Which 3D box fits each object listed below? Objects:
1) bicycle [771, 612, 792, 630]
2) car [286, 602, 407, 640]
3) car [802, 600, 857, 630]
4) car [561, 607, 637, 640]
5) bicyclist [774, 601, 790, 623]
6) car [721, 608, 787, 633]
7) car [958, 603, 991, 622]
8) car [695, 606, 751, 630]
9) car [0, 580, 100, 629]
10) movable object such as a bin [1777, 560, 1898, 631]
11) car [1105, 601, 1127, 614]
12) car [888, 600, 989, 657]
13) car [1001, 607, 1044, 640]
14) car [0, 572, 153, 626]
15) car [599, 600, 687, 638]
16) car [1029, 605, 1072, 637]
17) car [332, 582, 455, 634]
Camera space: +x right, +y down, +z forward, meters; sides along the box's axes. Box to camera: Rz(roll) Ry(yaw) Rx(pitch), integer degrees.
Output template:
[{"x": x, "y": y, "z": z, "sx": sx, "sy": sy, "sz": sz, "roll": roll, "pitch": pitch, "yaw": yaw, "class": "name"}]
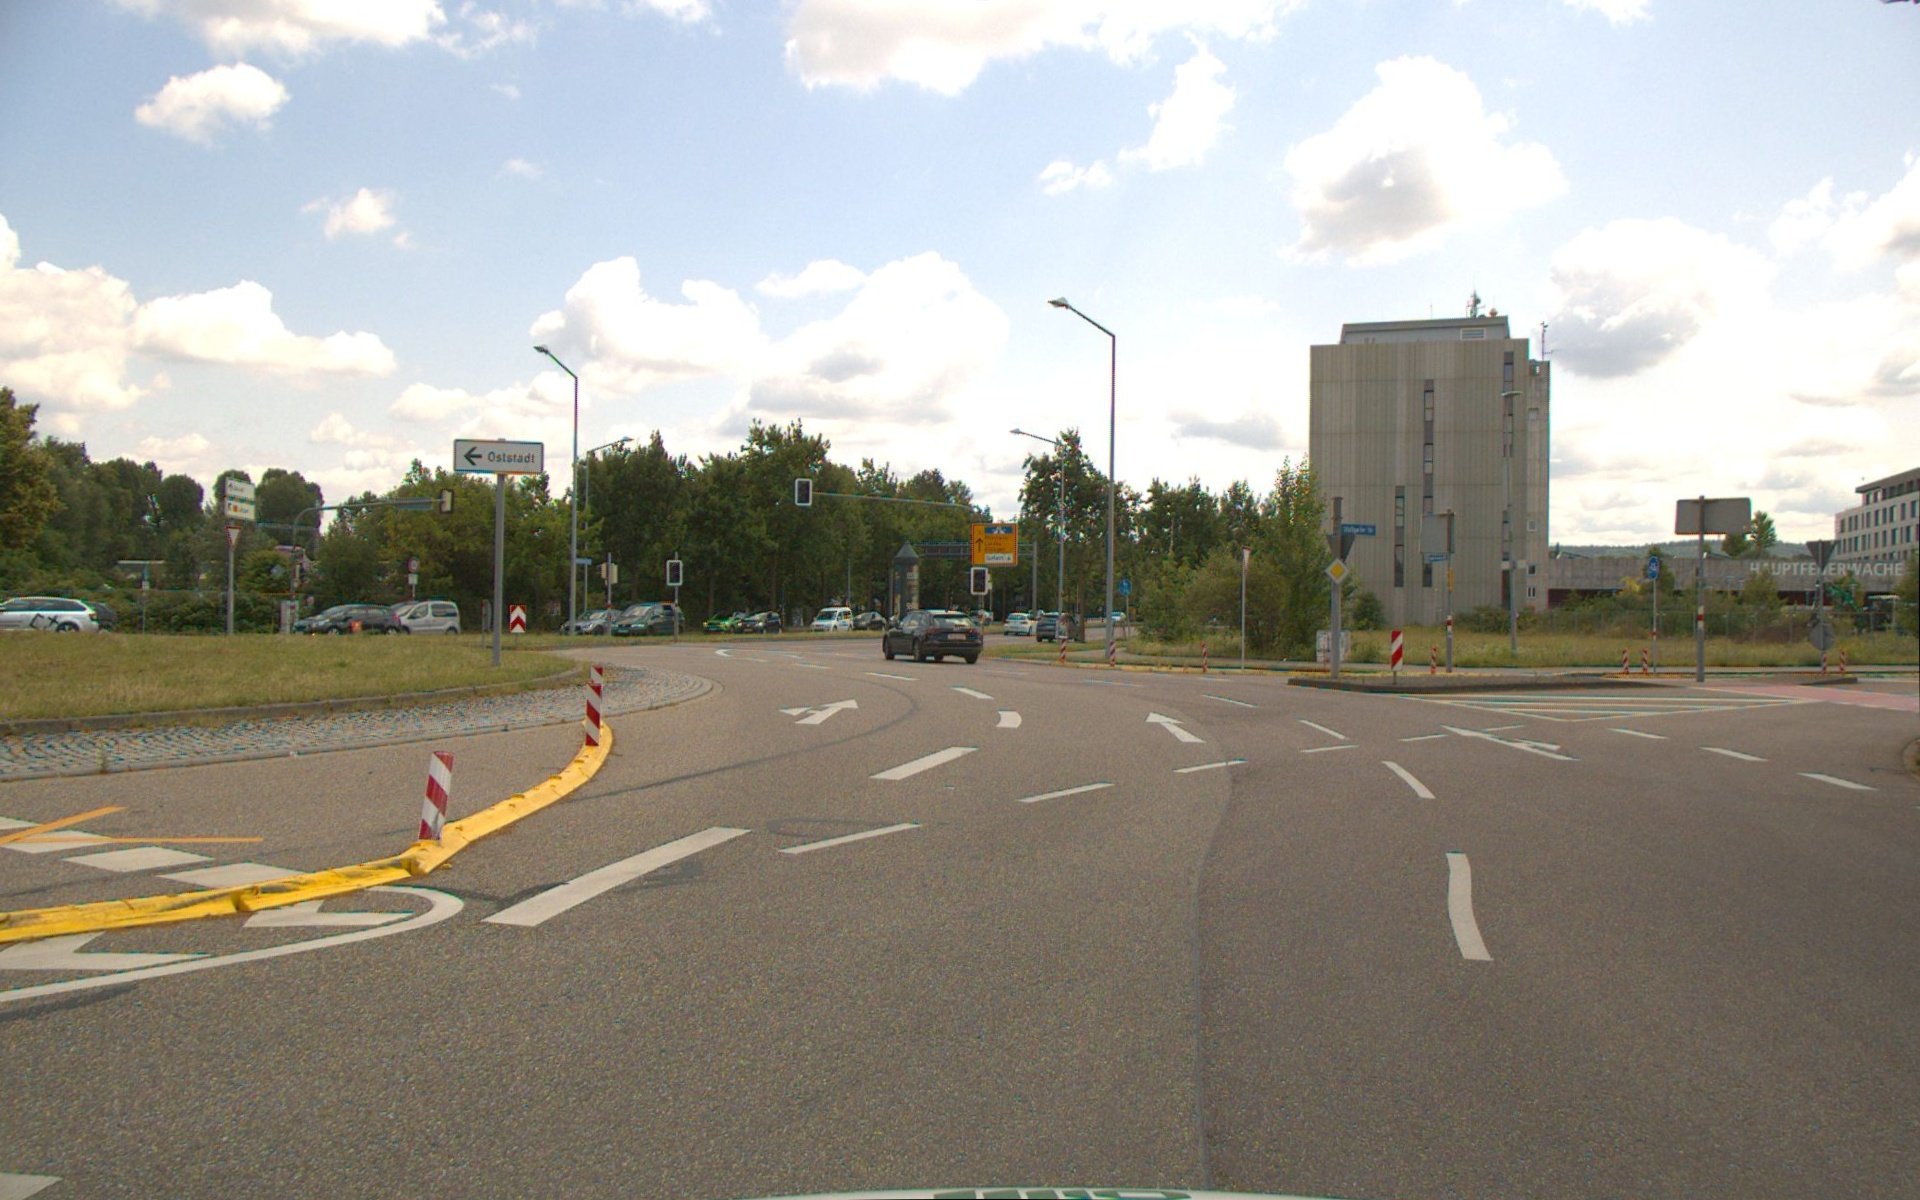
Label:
[{"x": -13.061, "y": 1.555, "z": 121.149, "sx": 0.745, "sy": 1.240, "sz": 2.018, "roll": 3, "pitch": 0, "yaw": 16, "class": "bicycle"}, {"x": -23.168, "y": 0.792, "z": 62.488, "sx": 3.946, "sy": 1.364, "sz": 1.775, "roll": 0, "pitch": 0, "yaw": -43, "class": "car"}, {"x": -8.234, "y": 0.969, "z": 104.807, "sx": 1.799, "sy": 1.831, "sz": 4.790, "roll": -1, "pitch": -1, "yaw": 17, "class": "car"}, {"x": -16.633, "y": 1.079, "z": 76.358, "sx": 1.865, "sy": 1.448, "sz": 4.195, "roll": 1, "pitch": 0, "yaw": 11, "class": "car"}, {"x": -13.016, "y": 0.862, "z": 121.200, "sx": 0.812, "sy": 1.592, "sz": 0.884, "roll": 3, "pitch": 0, "yaw": 16, "class": "bicyclist"}, {"x": -11.677, "y": 1.161, "z": 94.195, "sx": 1.799, "sy": 1.333, "sz": 4.789, "roll": -1, "pitch": -1, "yaw": 19, "class": "car"}, {"x": 1.301, "y": 1.145, "z": 147.901, "sx": 1.686, "sy": 1.619, "sz": 5.016, "roll": 0, "pitch": -1, "yaw": 16, "class": "car"}, {"x": -13.799, "y": 1.050, "z": 96.373, "sx": 1.582, "sy": 1.372, "sz": 4.173, "roll": -1, "pitch": -1, "yaw": 17, "class": "car"}, {"x": -30.639, "y": 0.142, "z": 53.673, "sx": 4.470, "sy": 1.548, "sz": 2.091, "roll": 1, "pitch": 0, "yaw": -43, "class": "car"}, {"x": 53.880, "y": -0.258, "z": 101.476, "sx": 7.512, "sy": 3.920, "sz": 3.018, "roll": 3, "pitch": -1, "yaw": -31, "class": "movable object such as a bin"}, {"x": 17.812, "y": 0.811, "z": 188.360, "sx": 1.726, "sy": 1.465, "sz": 4.311, "roll": 0, "pitch": 0, "yaw": 17, "class": "car"}, {"x": -0.654, "y": 0.779, "z": 46.796, "sx": 1.658, "sy": 1.489, "sz": 3.978, "roll": 2, "pitch": 0, "yaw": -19, "class": "car"}, {"x": 4.095, "y": 1.549, "z": 107.936, "sx": 1.951, "sy": 2.049, "sz": 4.003, "roll": 2, "pitch": 0, "yaw": 14, "class": "car"}, {"x": -31.380, "y": -0.018, "z": 58.745, "sx": 4.612, "sy": 1.852, "sz": 2.098, "roll": 1, "pitch": 0, "yaw": -37, "class": "car"}, {"x": -14.143, "y": 0.840, "z": 74.114, "sx": 1.868, "sy": 1.620, "sz": 4.594, "roll": 1, "pitch": -1, "yaw": 18, "class": "car"}, {"x": 5.181, "y": 1.170, "z": 94.287, "sx": 1.951, "sy": 1.654, "sz": 4.314, "roll": -1, "pitch": 1, "yaw": 10, "class": "car"}, {"x": -23.339, "y": 0.350, "z": 68.373, "sx": 1.955, "sy": 2.049, "sz": 4.781, "roll": 1, "pitch": 0, "yaw": 27, "class": "car"}]
